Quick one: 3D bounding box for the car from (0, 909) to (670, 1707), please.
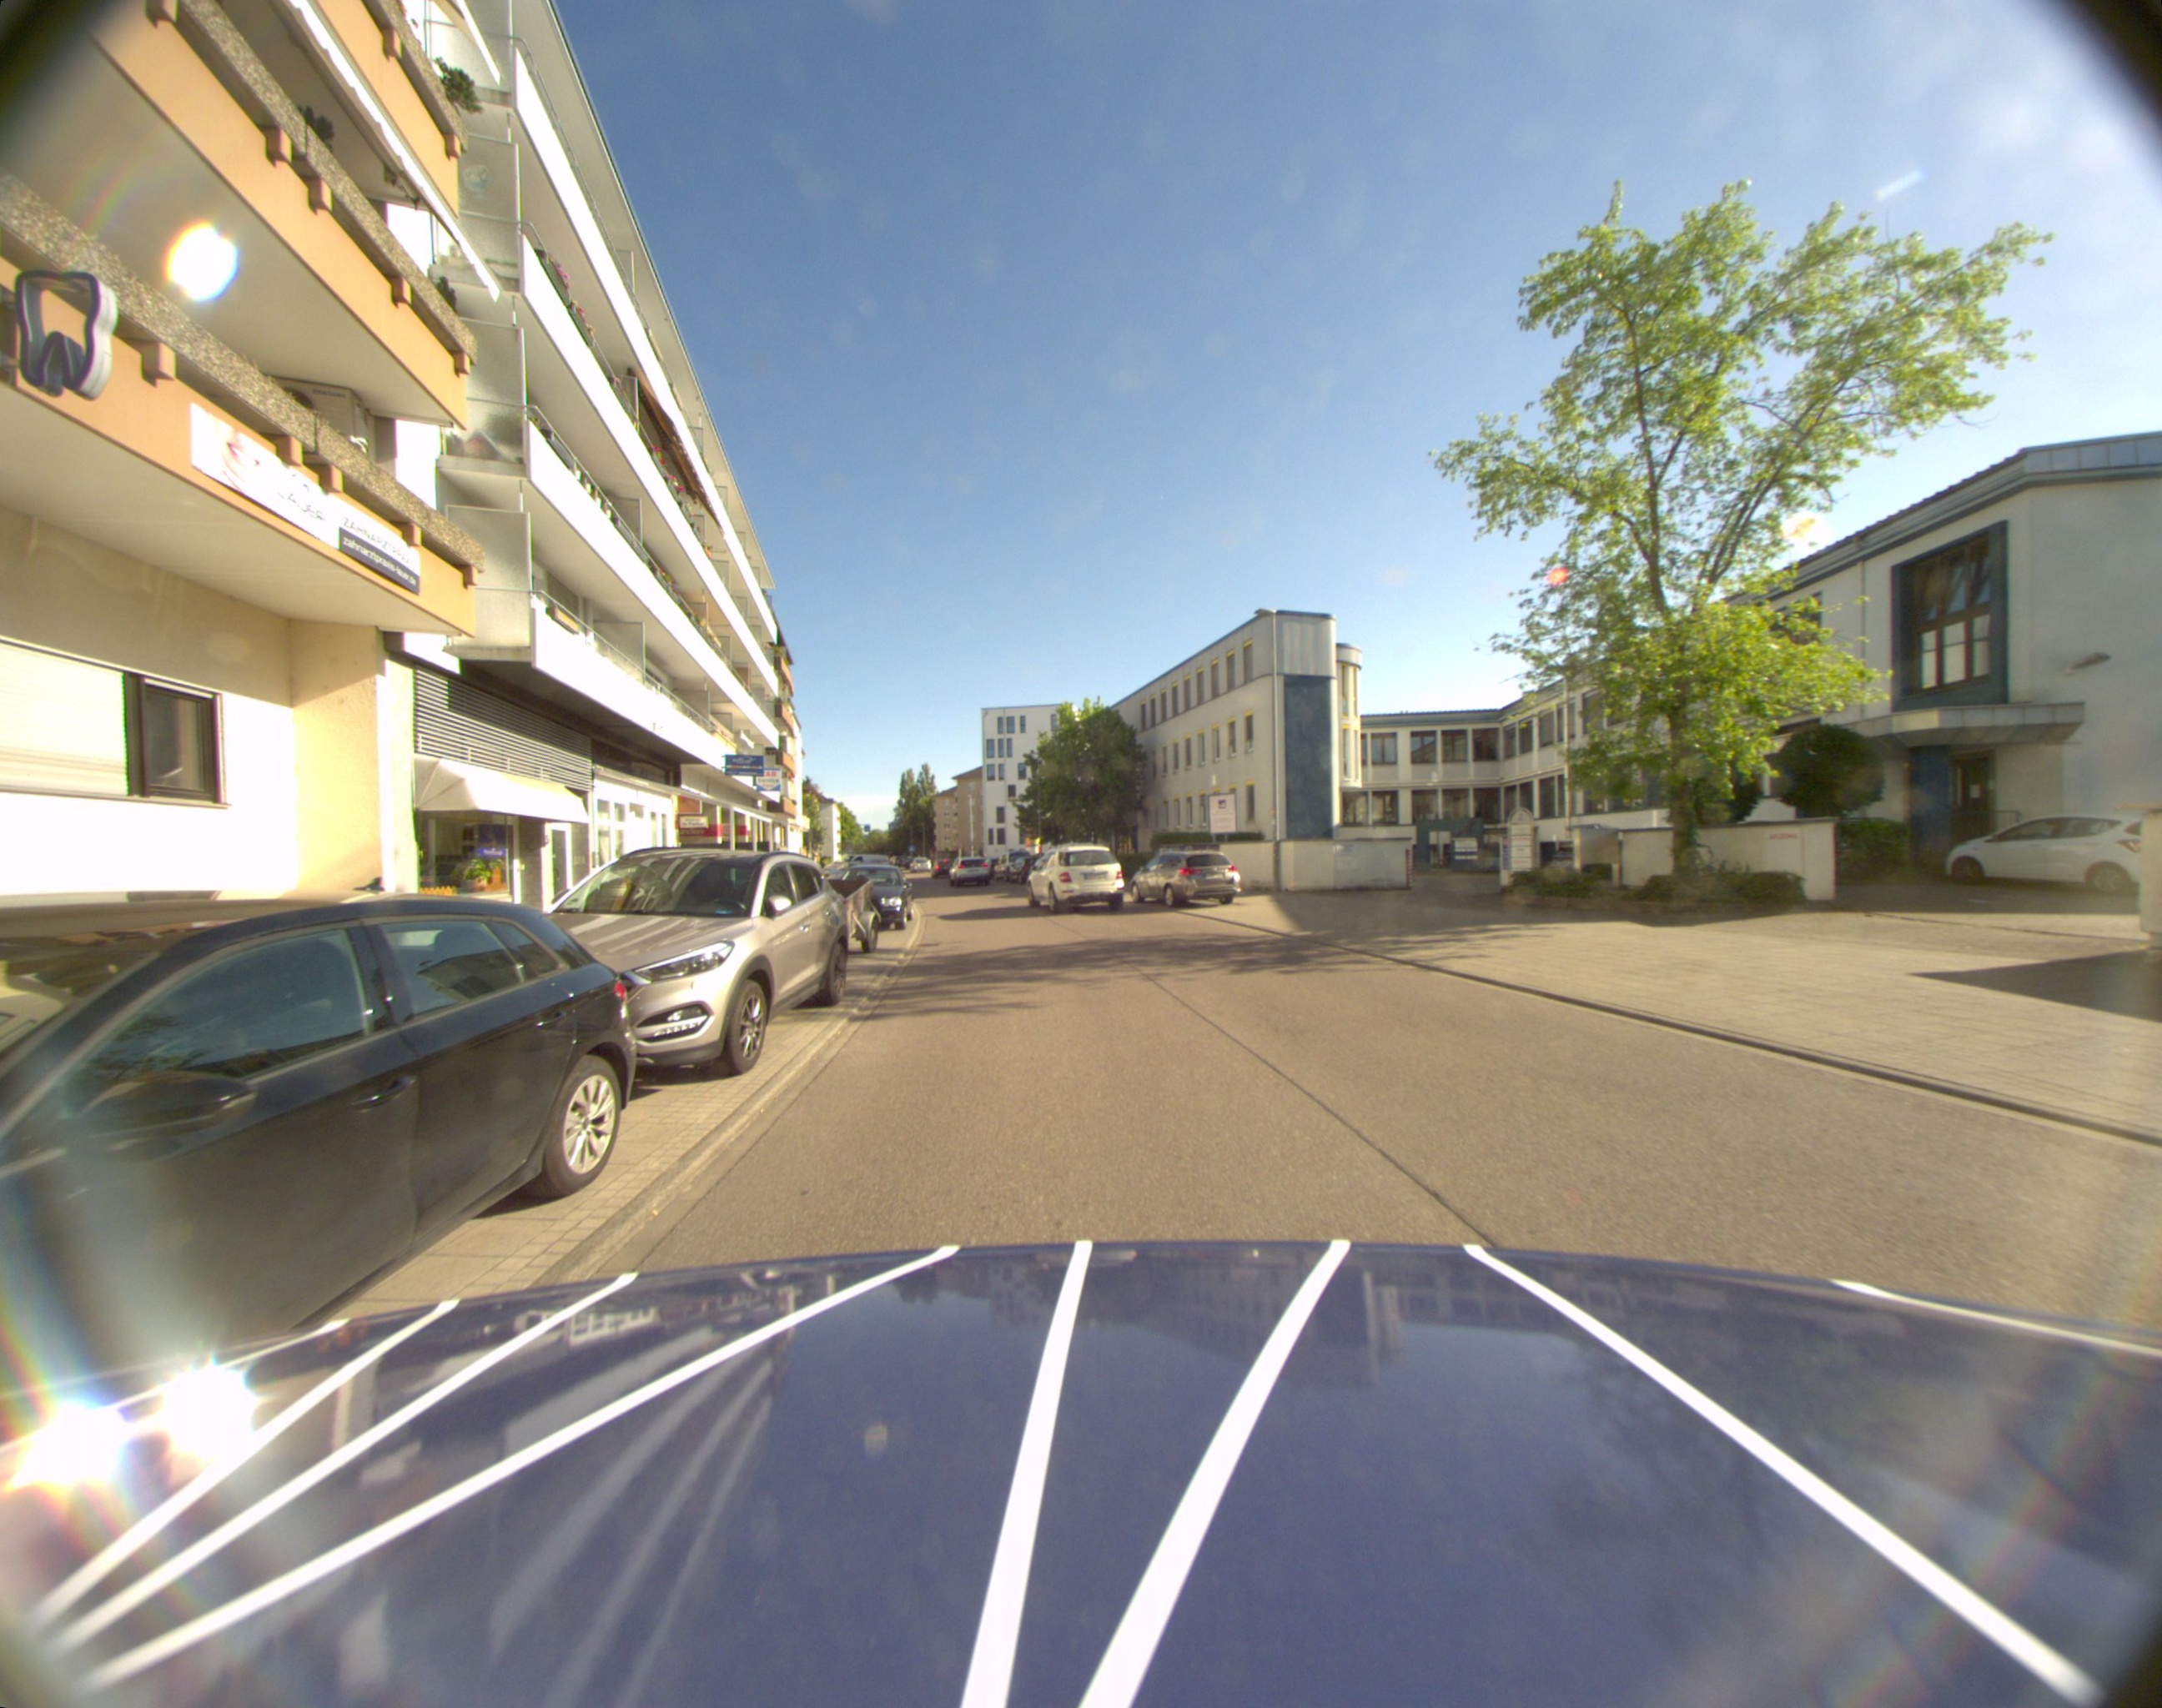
[{"bbox_3d":[-2.963,1.010,1.993,1.722,1.400,4.312,1,0,-5],"label":"car"}]

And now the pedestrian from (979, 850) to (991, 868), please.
[{"bbox_3d":[-9.422,0.498,74.762,0.978,1.704,0.874,-1,1,6],"label":"pedestrian"}]

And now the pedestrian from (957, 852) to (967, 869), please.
[{"bbox_3d":[-15.256,0.864,97.558,0.777,2.108,0.956,-3,1,-37],"label":"pedestrian"}]

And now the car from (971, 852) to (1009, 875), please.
[{"bbox_3d":[-6.748,0.657,56.000,1.916,1.521,4.617,-2,1,-17],"label":"car"}]

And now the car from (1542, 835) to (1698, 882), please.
[{"bbox_3d":[19.900,0.164,28.198,4.332,1.531,1.926,-2,0,3],"label":"car"}]

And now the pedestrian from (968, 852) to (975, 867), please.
[{"bbox_3d":[-13.715,0.678,95.246,0.790,1.875,0.846,-1,3,0],"label":"pedestrian"}]

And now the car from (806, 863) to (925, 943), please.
[{"bbox_3d":[-4.932,1.032,18.085,1.977,1.442,4.998,-2,1,-8],"label":"car"}]

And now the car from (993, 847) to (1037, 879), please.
[{"bbox_3d":[-4.092,0.536,46.269,1.694,1.828,4.334,-2,0,-18],"label":"car"}]

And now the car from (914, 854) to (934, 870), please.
[{"bbox_3d":[-15.866,0.764,76.681,1.733,1.476,4.101,4,-1,-14],"label":"car"}]

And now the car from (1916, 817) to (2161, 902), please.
[{"bbox_3d":[19.132,0.011,14.737,1.761,1.413,3.847,-1,3,4],"label":"car"}]

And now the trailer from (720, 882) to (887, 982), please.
[{"bbox_3d":[-4.140,1.114,11.807,1.607,1.171,2.941,-1,1,-3],"label":"trailer"}]

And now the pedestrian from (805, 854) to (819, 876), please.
[{"bbox_3d":[-20.058,0.838,56.611,0.835,1.584,0.888,-1,1,-11],"label":"pedestrian"}]

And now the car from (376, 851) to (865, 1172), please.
[{"bbox_3d":[-3.316,0.913,6.745,1.822,1.644,4.555,-1,3,-5],"label":"car"}]

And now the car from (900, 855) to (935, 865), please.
[{"bbox_3d":[-23.432,0.850,109.010,4.572,1.160,1.994,-4,2,-45],"label":"car"}]

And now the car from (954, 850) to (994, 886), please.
[{"bbox_3d":[-6.025,0.726,42.458,1.926,1.715,4.330,-2,3,-11],"label":"car"}]

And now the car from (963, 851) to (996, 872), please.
[{"bbox_3d":[-8.160,0.583,60.685,1.916,1.470,4.373,-2,1,-17],"label":"car"}]

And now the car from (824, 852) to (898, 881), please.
[{"bbox_3d":[-14.971,0.817,51.921,2.044,1.887,4.539,2,1,34],"label":"car"}]

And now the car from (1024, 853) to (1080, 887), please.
[{"bbox_3d":[-1.460,0.714,36.426,1.732,1.456,4.433,-2,0,-14],"label":"car"}]

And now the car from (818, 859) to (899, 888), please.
[{"bbox_3d":[-13.052,1.110,44.860,1.686,1.457,4.656,1,1,32],"label":"car"}]

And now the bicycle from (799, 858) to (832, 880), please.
[{"bbox_3d":[-15.516,0.875,44.410,0.705,1.246,2.264,-2,-1,12],"label":"bicycle"}]

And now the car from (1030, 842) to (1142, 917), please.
[{"bbox_3d":[-0.009,0.616,20.903,1.997,1.775,4.513,-1,0,-14],"label":"car"}]

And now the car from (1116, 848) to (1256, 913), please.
[{"bbox_3d":[2.751,0.661,21.293,2.001,1.525,4.911,-2,0,-16],"label":"car"}]

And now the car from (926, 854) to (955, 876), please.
[{"bbox_3d":[-11.148,0.857,60.042,1.747,1.504,3.722,2,2,-17],"label":"car"}]

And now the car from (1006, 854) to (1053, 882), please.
[{"bbox_3d":[-2.887,0.732,41.655,1.604,1.432,3.993,-2,1,-18],"label":"car"}]
